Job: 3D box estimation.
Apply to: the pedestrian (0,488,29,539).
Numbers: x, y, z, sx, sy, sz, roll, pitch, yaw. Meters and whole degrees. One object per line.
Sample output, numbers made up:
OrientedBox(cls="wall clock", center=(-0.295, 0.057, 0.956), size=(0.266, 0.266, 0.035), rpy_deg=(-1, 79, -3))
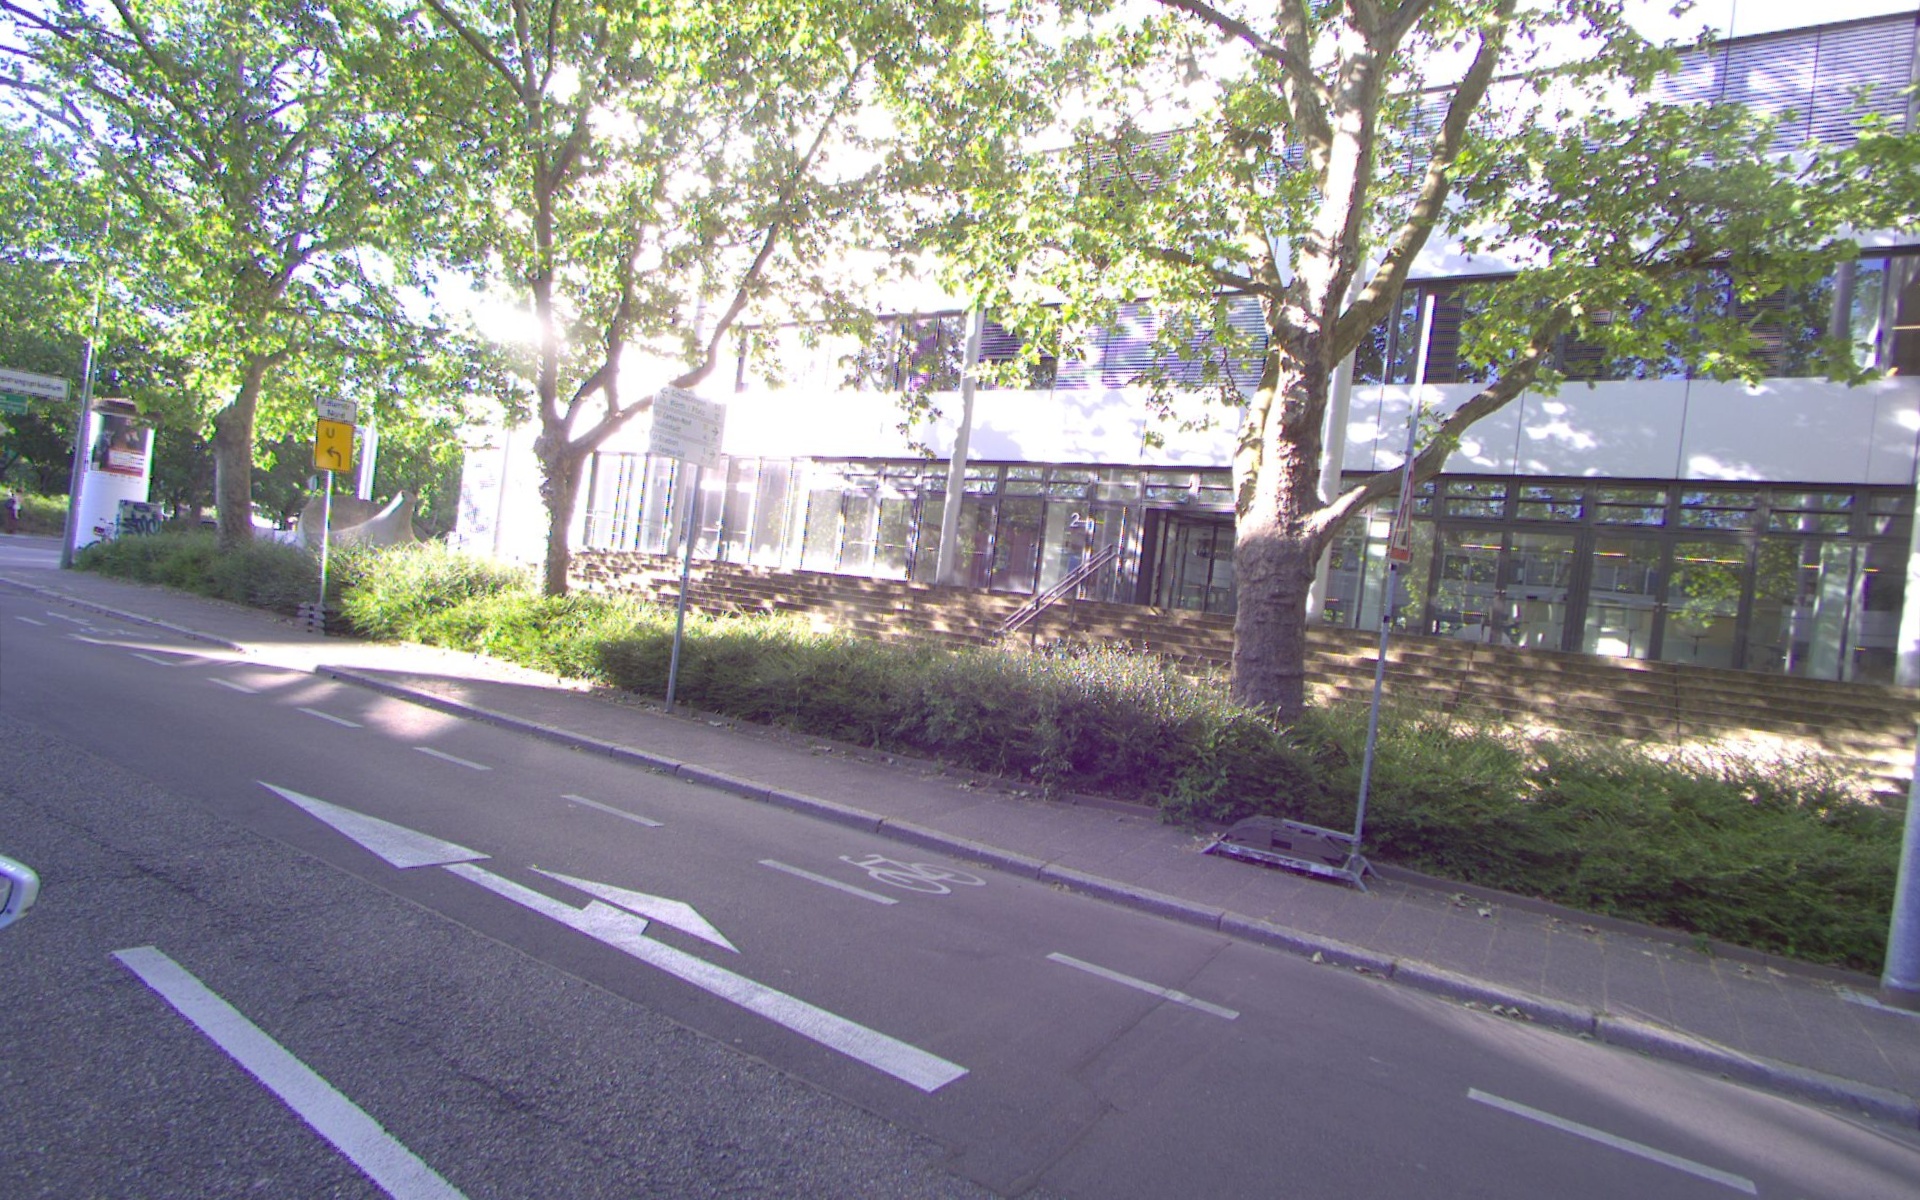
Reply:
OrientedBox(cls="pedestrian", center=(-36.220, -3.292, 38.436), size=(0.672, 1.793, 0.613), rpy_deg=(8, -1, -29))

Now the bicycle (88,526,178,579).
OrientedBox(cls="bicycle", center=(-19.042, -1.078, 23.183), size=(0.295, 0.991, 1.484), rpy_deg=(6, -2, 37))
